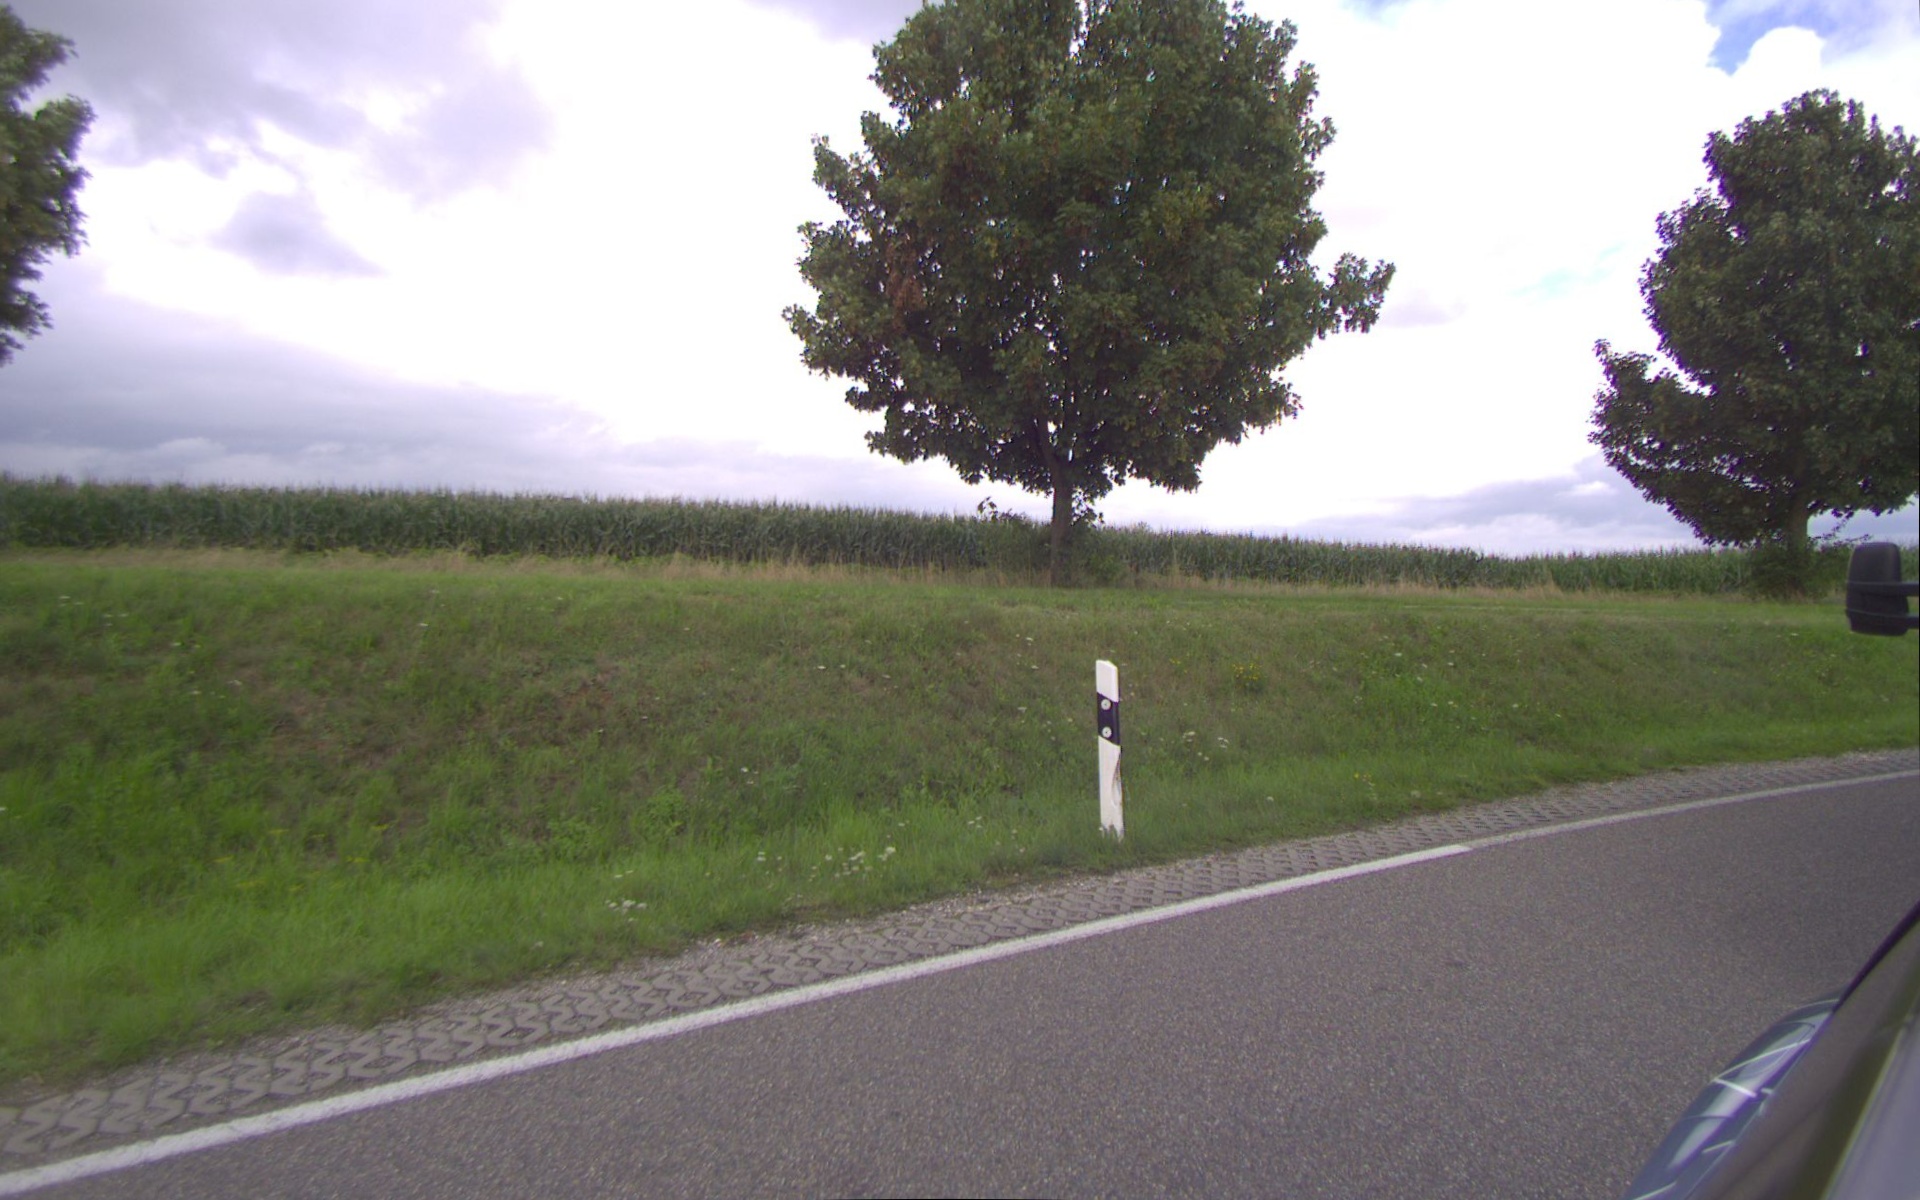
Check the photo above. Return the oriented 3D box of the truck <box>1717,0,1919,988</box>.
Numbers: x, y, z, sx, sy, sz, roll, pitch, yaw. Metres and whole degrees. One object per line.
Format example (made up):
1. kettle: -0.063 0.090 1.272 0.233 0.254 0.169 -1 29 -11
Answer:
1. truck: 7.190 -0.627 4.562 8.623 3.810 2.843 1 1 -30
